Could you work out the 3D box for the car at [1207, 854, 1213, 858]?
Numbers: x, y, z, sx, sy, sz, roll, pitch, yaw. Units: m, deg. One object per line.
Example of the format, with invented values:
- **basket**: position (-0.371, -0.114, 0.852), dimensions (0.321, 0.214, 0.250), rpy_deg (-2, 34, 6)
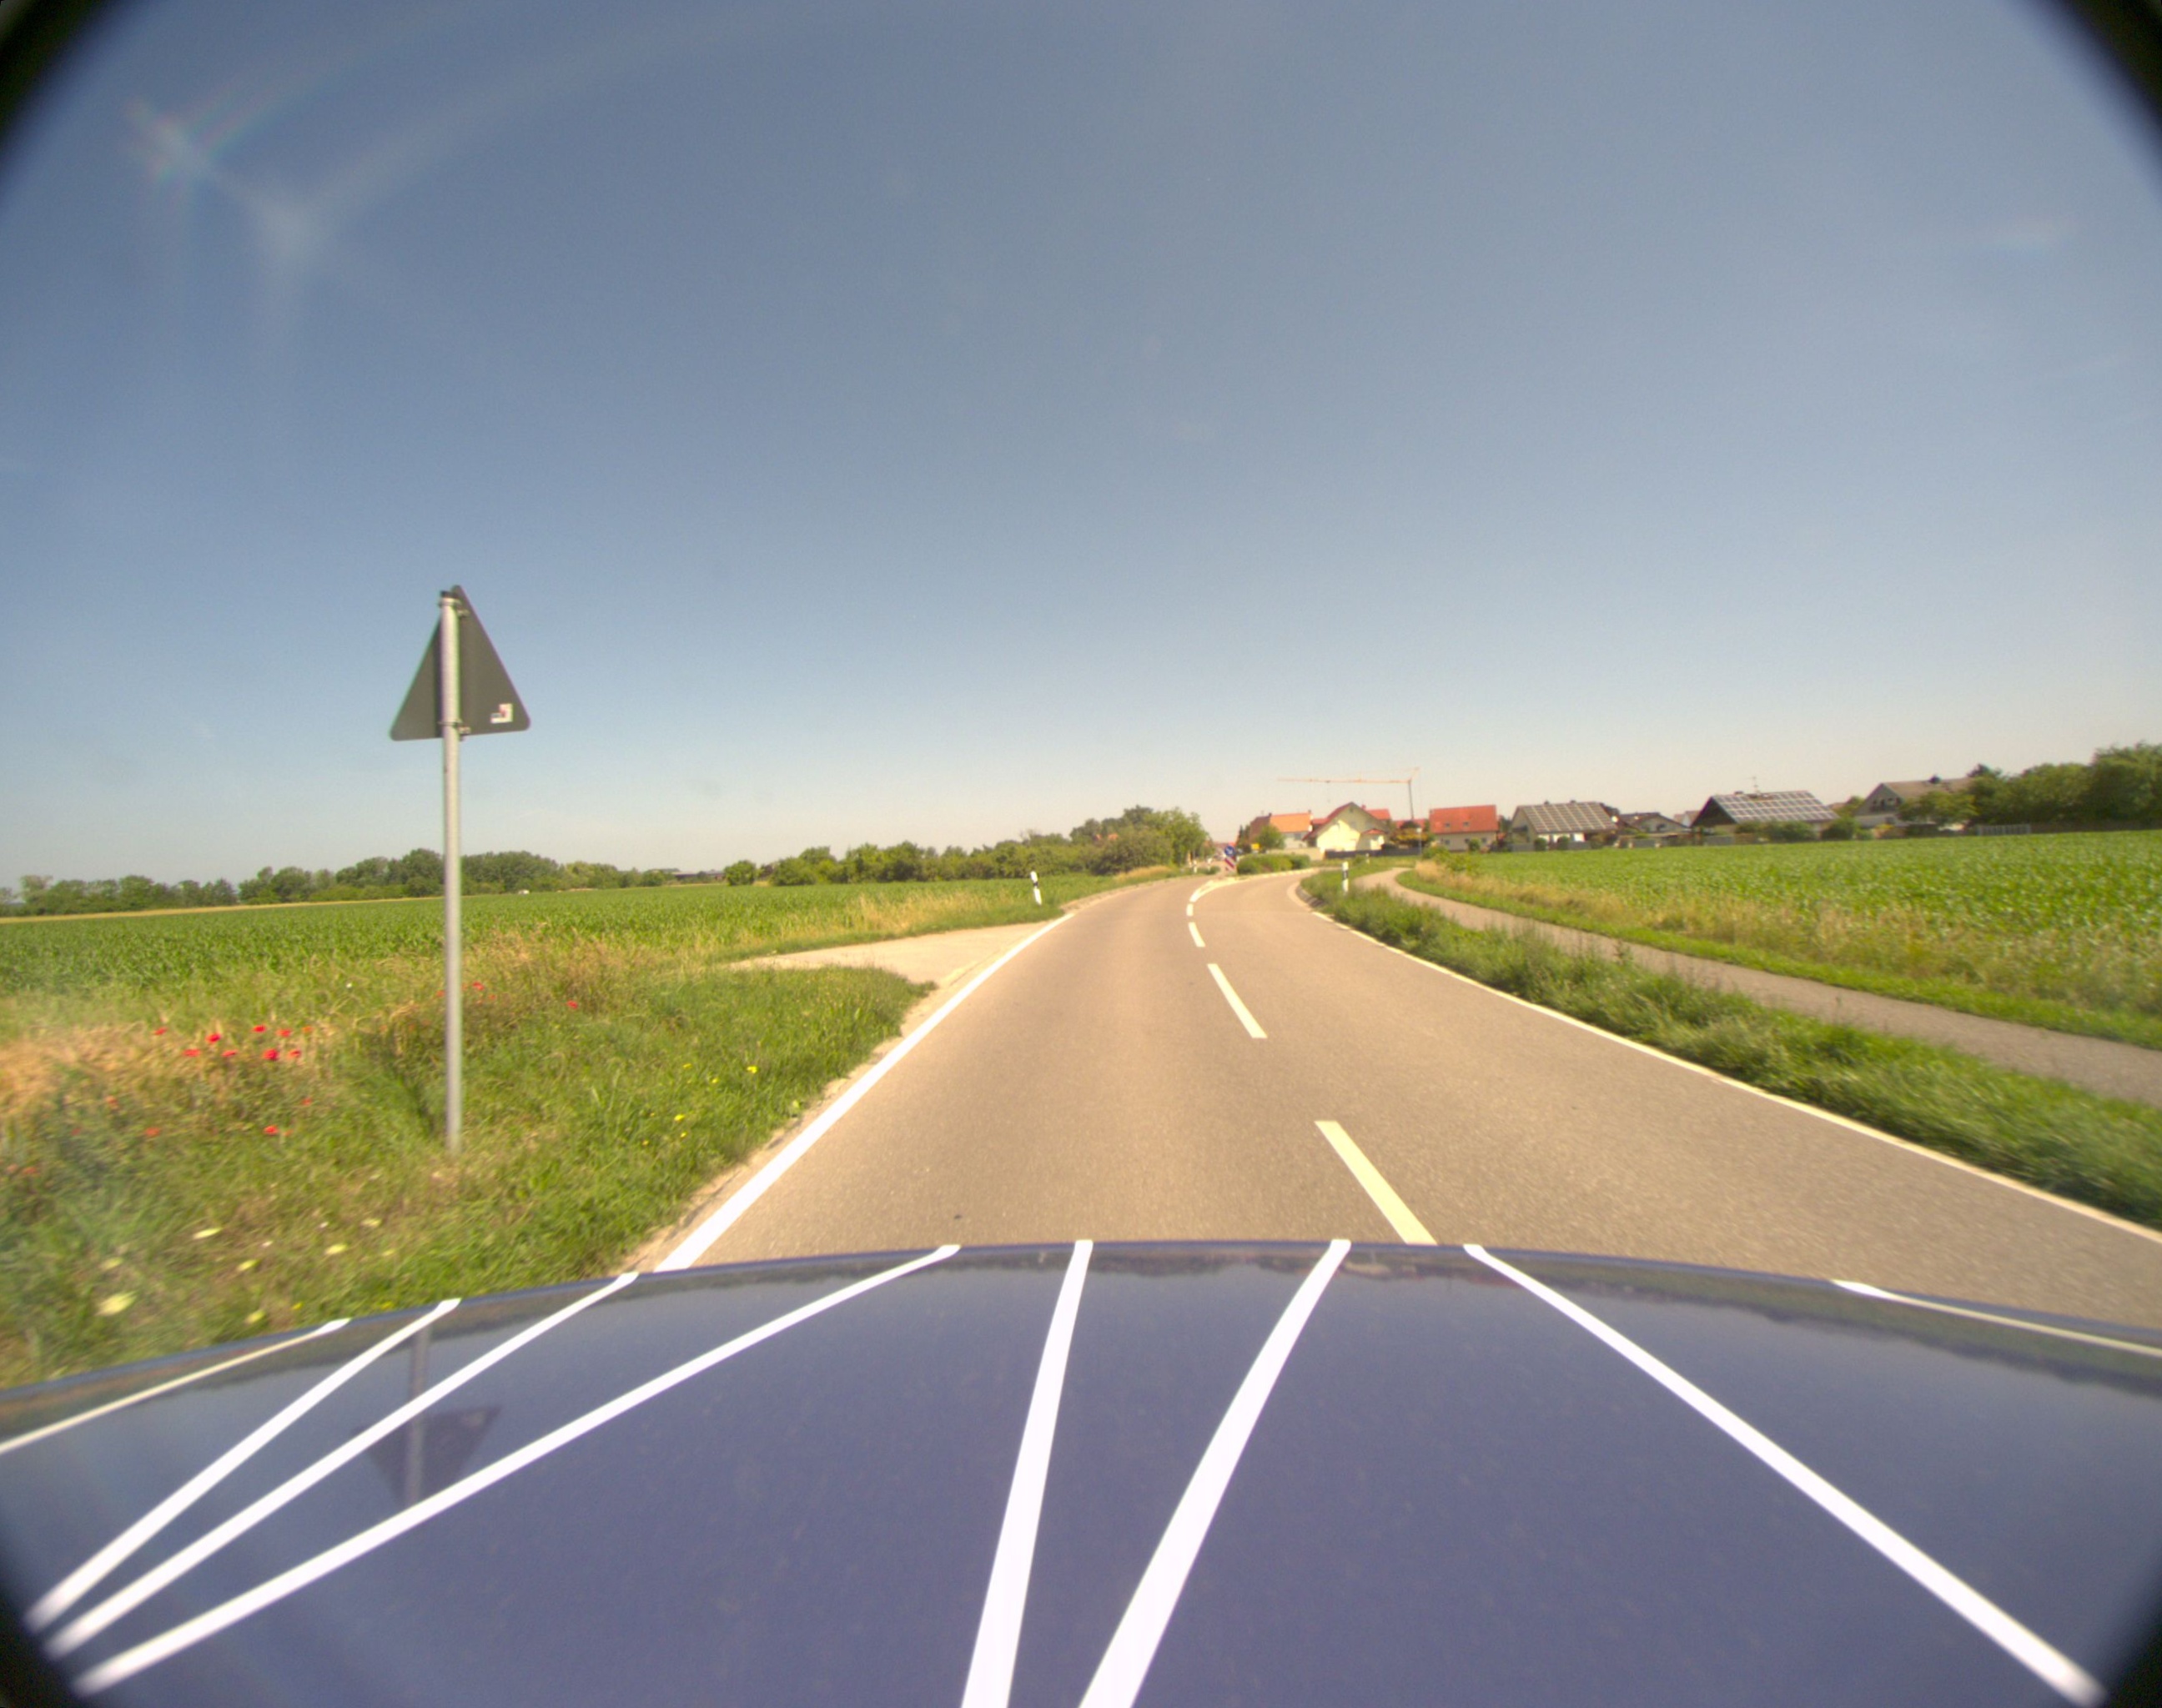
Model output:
- **car**: position (39.876, 0.586, 235.037), dimensions (1.731, 1.379, 3.535), rpy_deg (-2, -1, 11)
